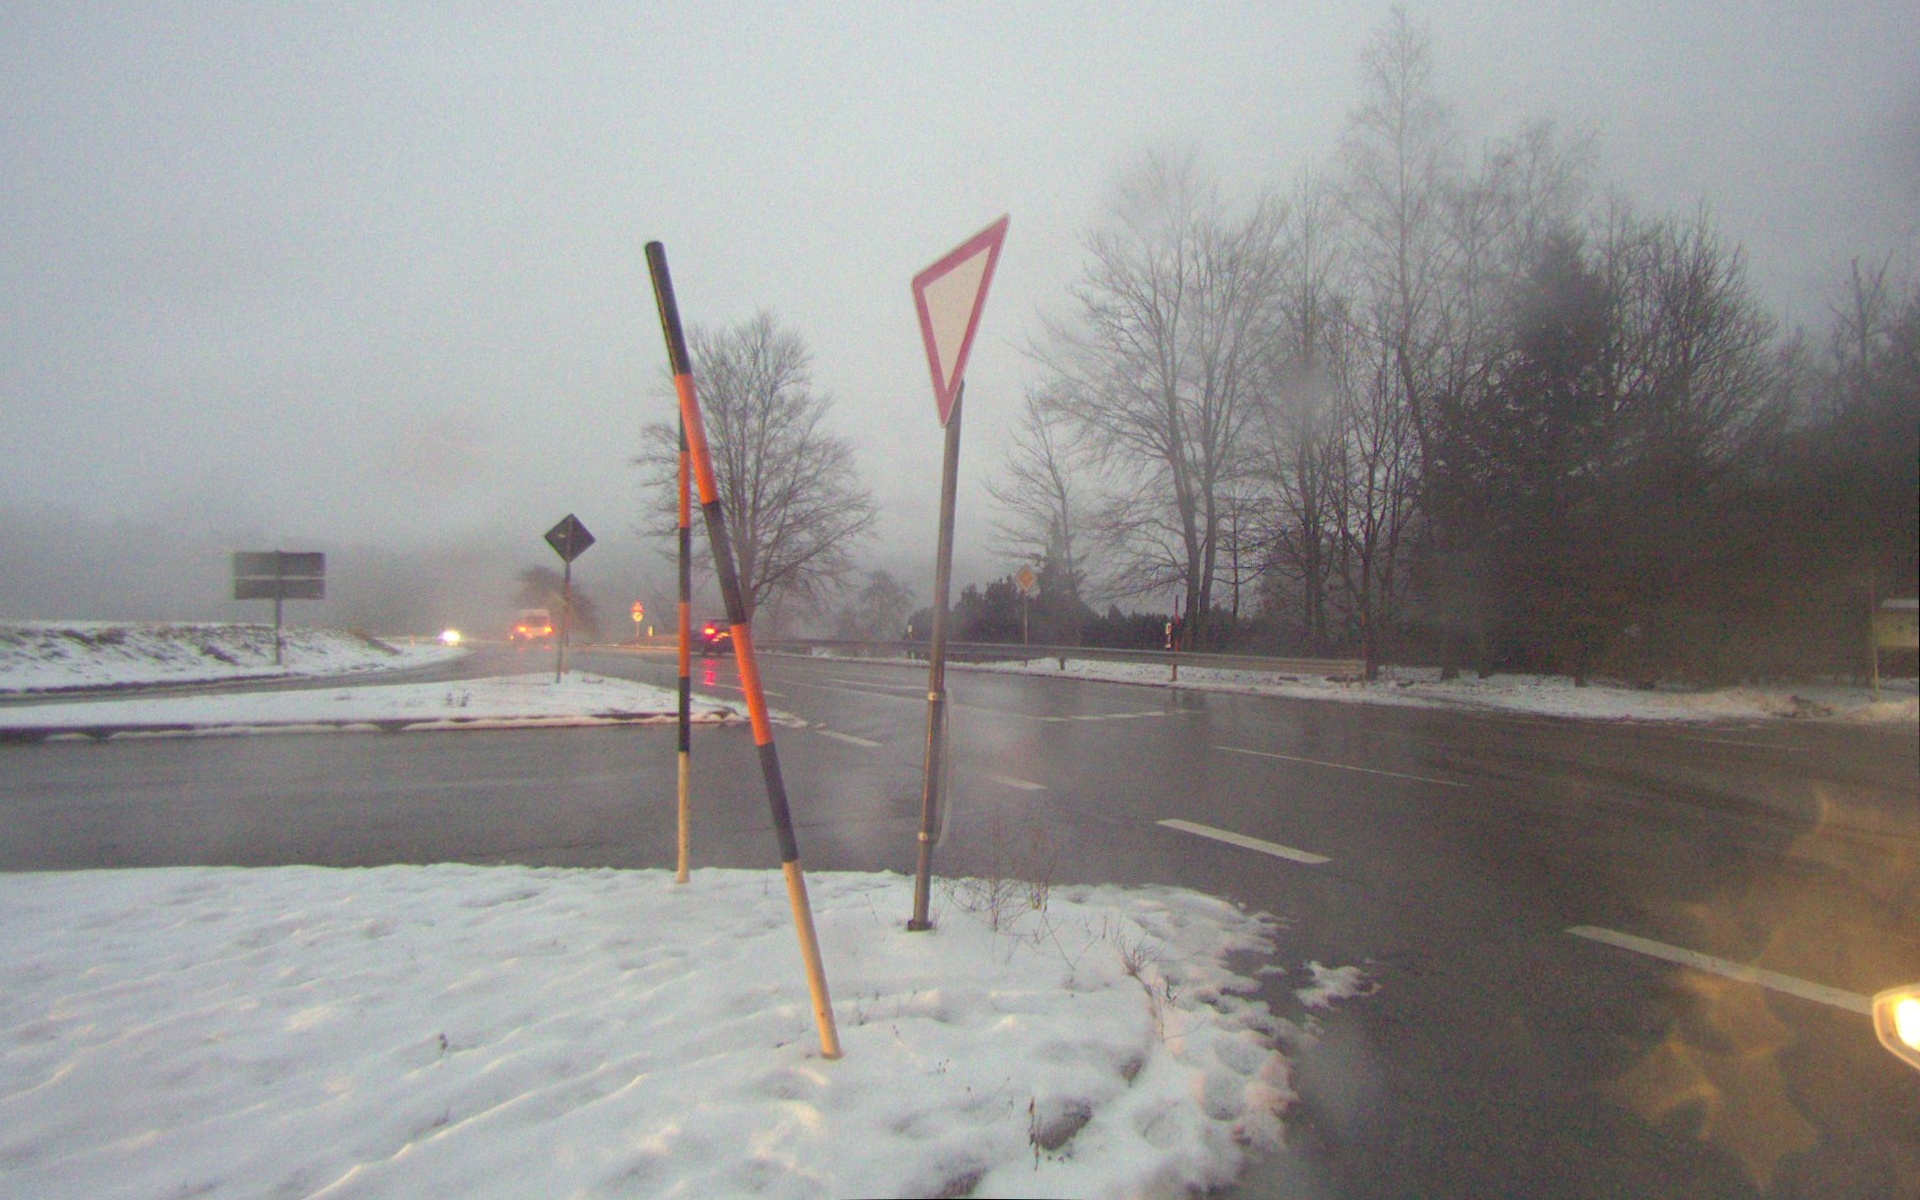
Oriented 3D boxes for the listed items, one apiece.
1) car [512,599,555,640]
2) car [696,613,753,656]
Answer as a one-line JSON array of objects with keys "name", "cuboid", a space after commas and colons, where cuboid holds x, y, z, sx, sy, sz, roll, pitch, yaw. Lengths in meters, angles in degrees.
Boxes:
[{"name": "car", "cuboid": [-32.018, 1.417, 75.336, 2.129, 2.731, 5.483, 3, 0, -31]}, {"name": "car", "cuboid": [-9.355, 1.348, 39.711, 1.673, 1.572, 3.837, 2, -2, -21]}]
